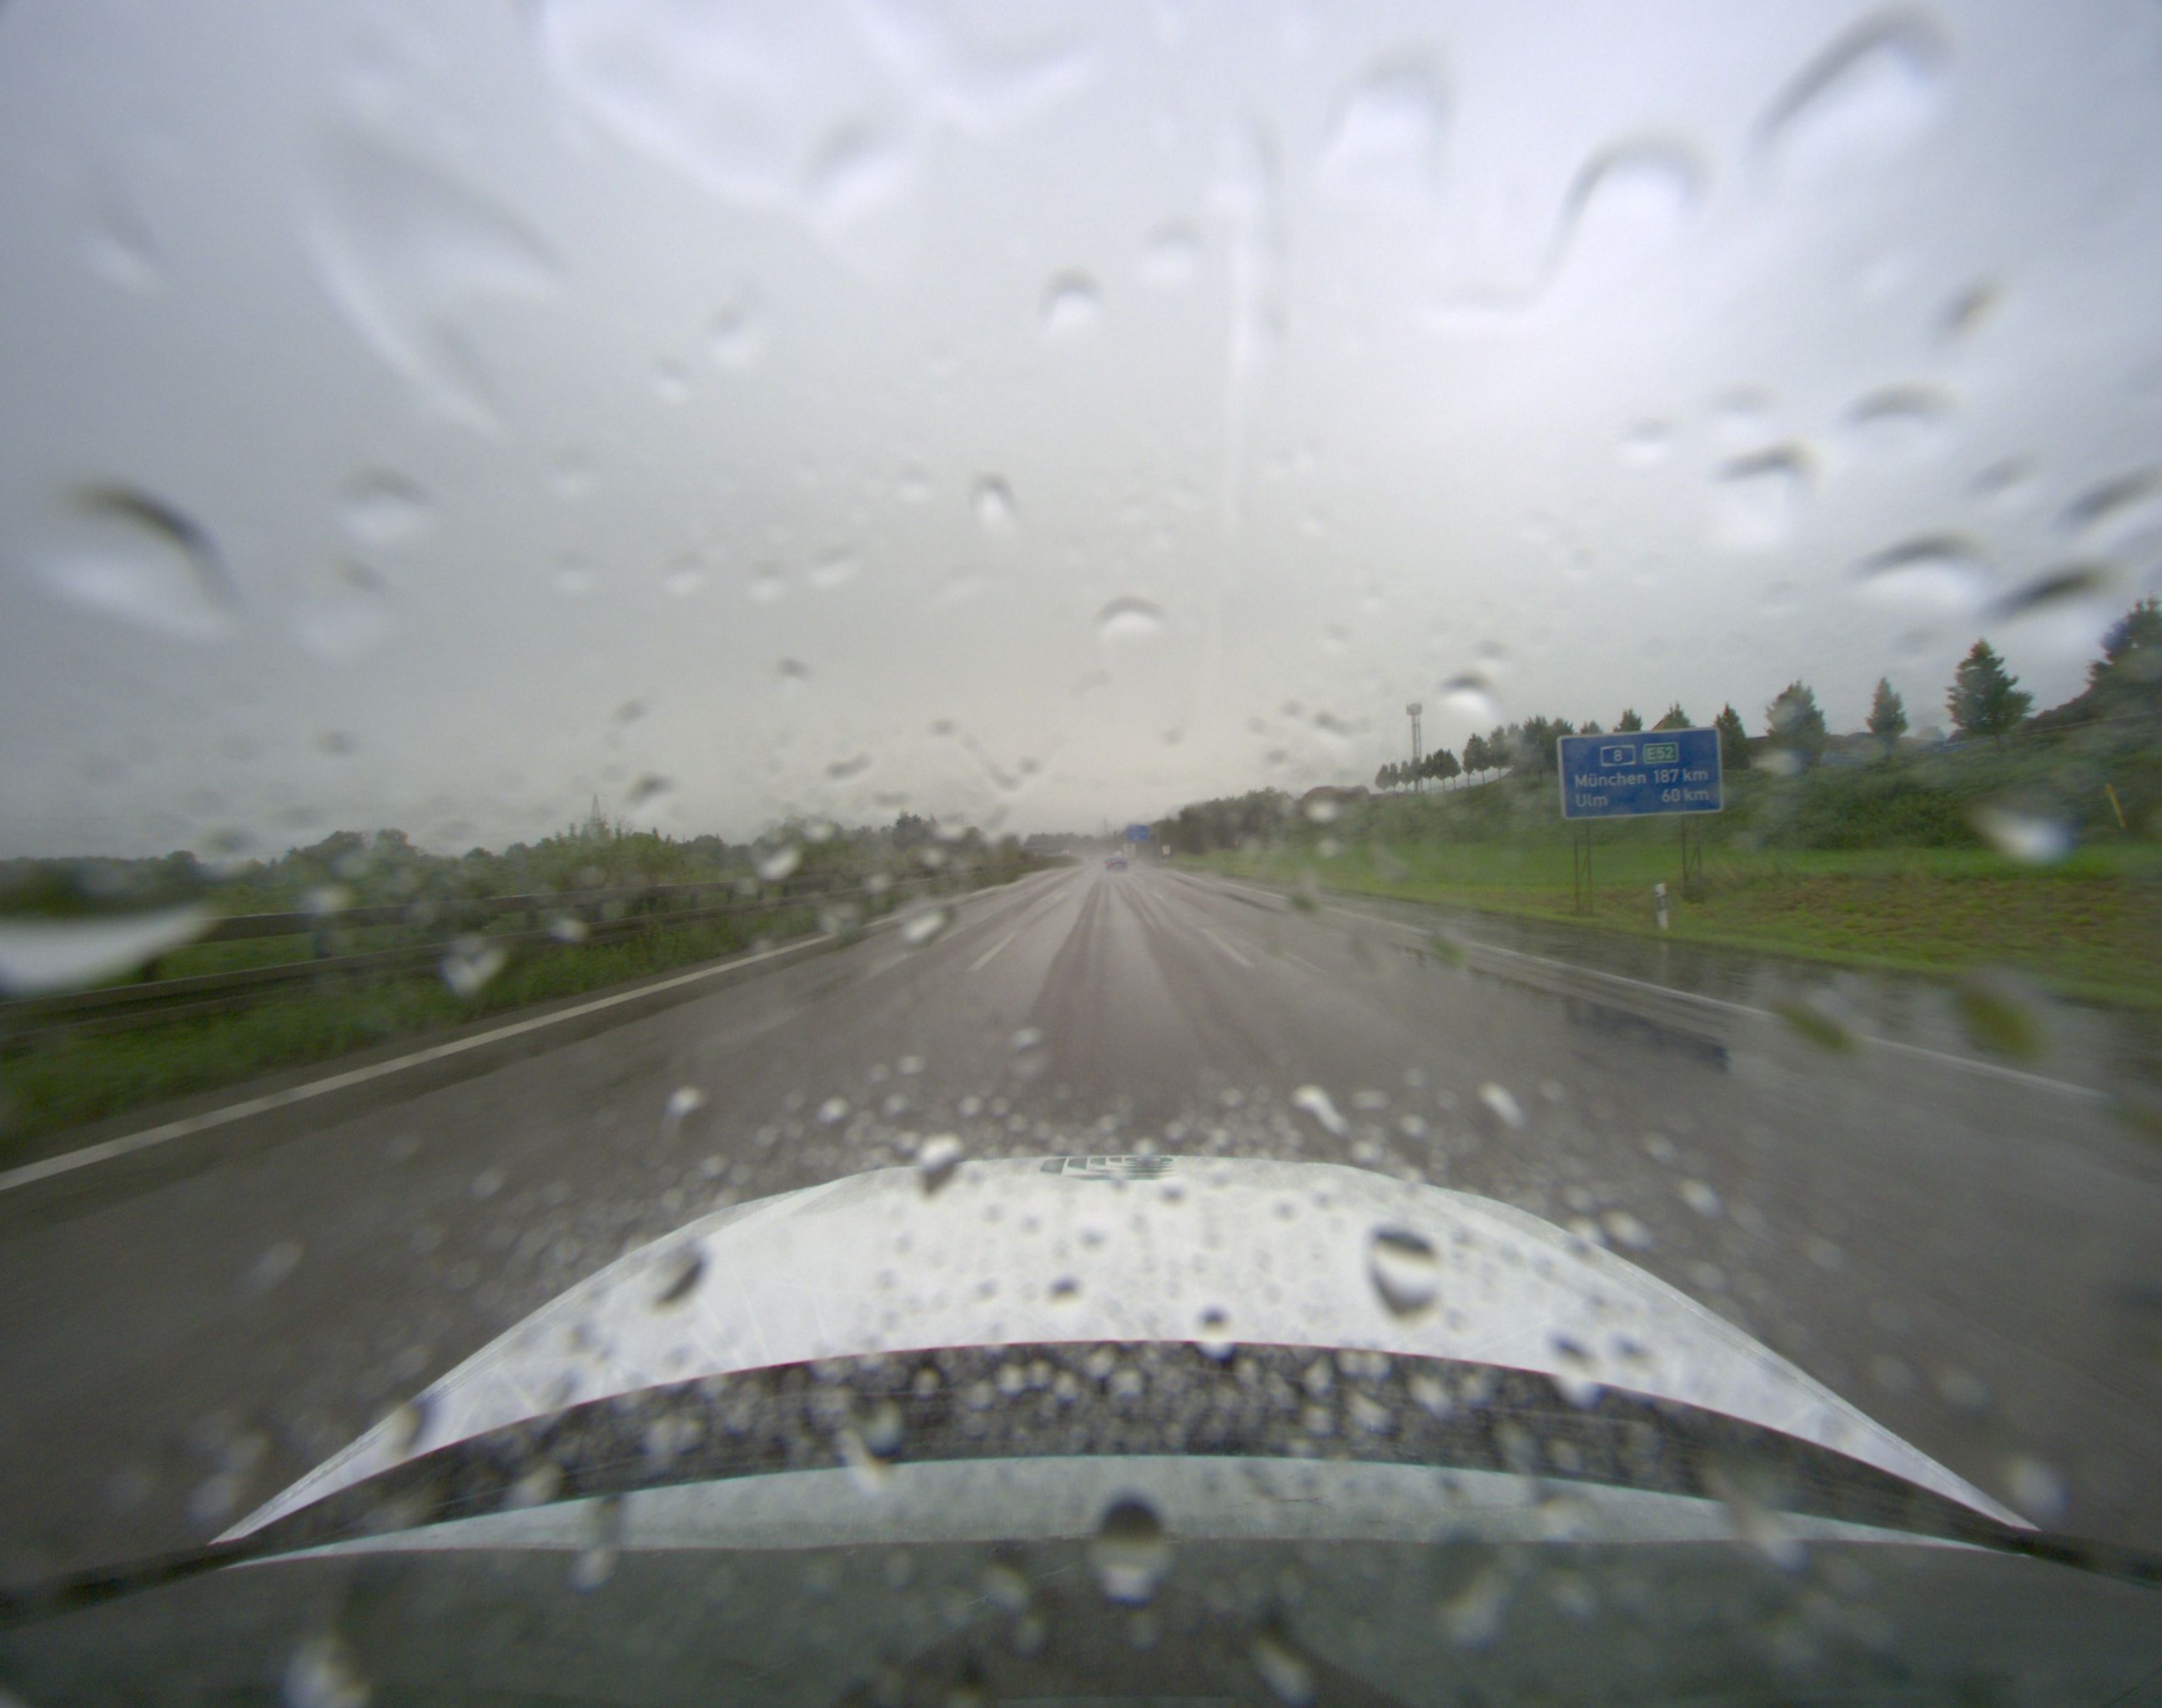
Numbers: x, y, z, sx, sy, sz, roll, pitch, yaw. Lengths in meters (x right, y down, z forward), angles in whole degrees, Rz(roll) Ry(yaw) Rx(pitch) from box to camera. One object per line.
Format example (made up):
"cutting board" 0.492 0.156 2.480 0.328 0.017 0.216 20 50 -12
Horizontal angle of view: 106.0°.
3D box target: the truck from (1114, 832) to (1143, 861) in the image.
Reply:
"truck" 8.849 -1.359 154.907 4.243 4.971 17.339 -4 0 0

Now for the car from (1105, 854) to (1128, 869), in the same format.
"car" 2.862 0.607 66.253 1.742 1.212 4.001 -1 0 1
